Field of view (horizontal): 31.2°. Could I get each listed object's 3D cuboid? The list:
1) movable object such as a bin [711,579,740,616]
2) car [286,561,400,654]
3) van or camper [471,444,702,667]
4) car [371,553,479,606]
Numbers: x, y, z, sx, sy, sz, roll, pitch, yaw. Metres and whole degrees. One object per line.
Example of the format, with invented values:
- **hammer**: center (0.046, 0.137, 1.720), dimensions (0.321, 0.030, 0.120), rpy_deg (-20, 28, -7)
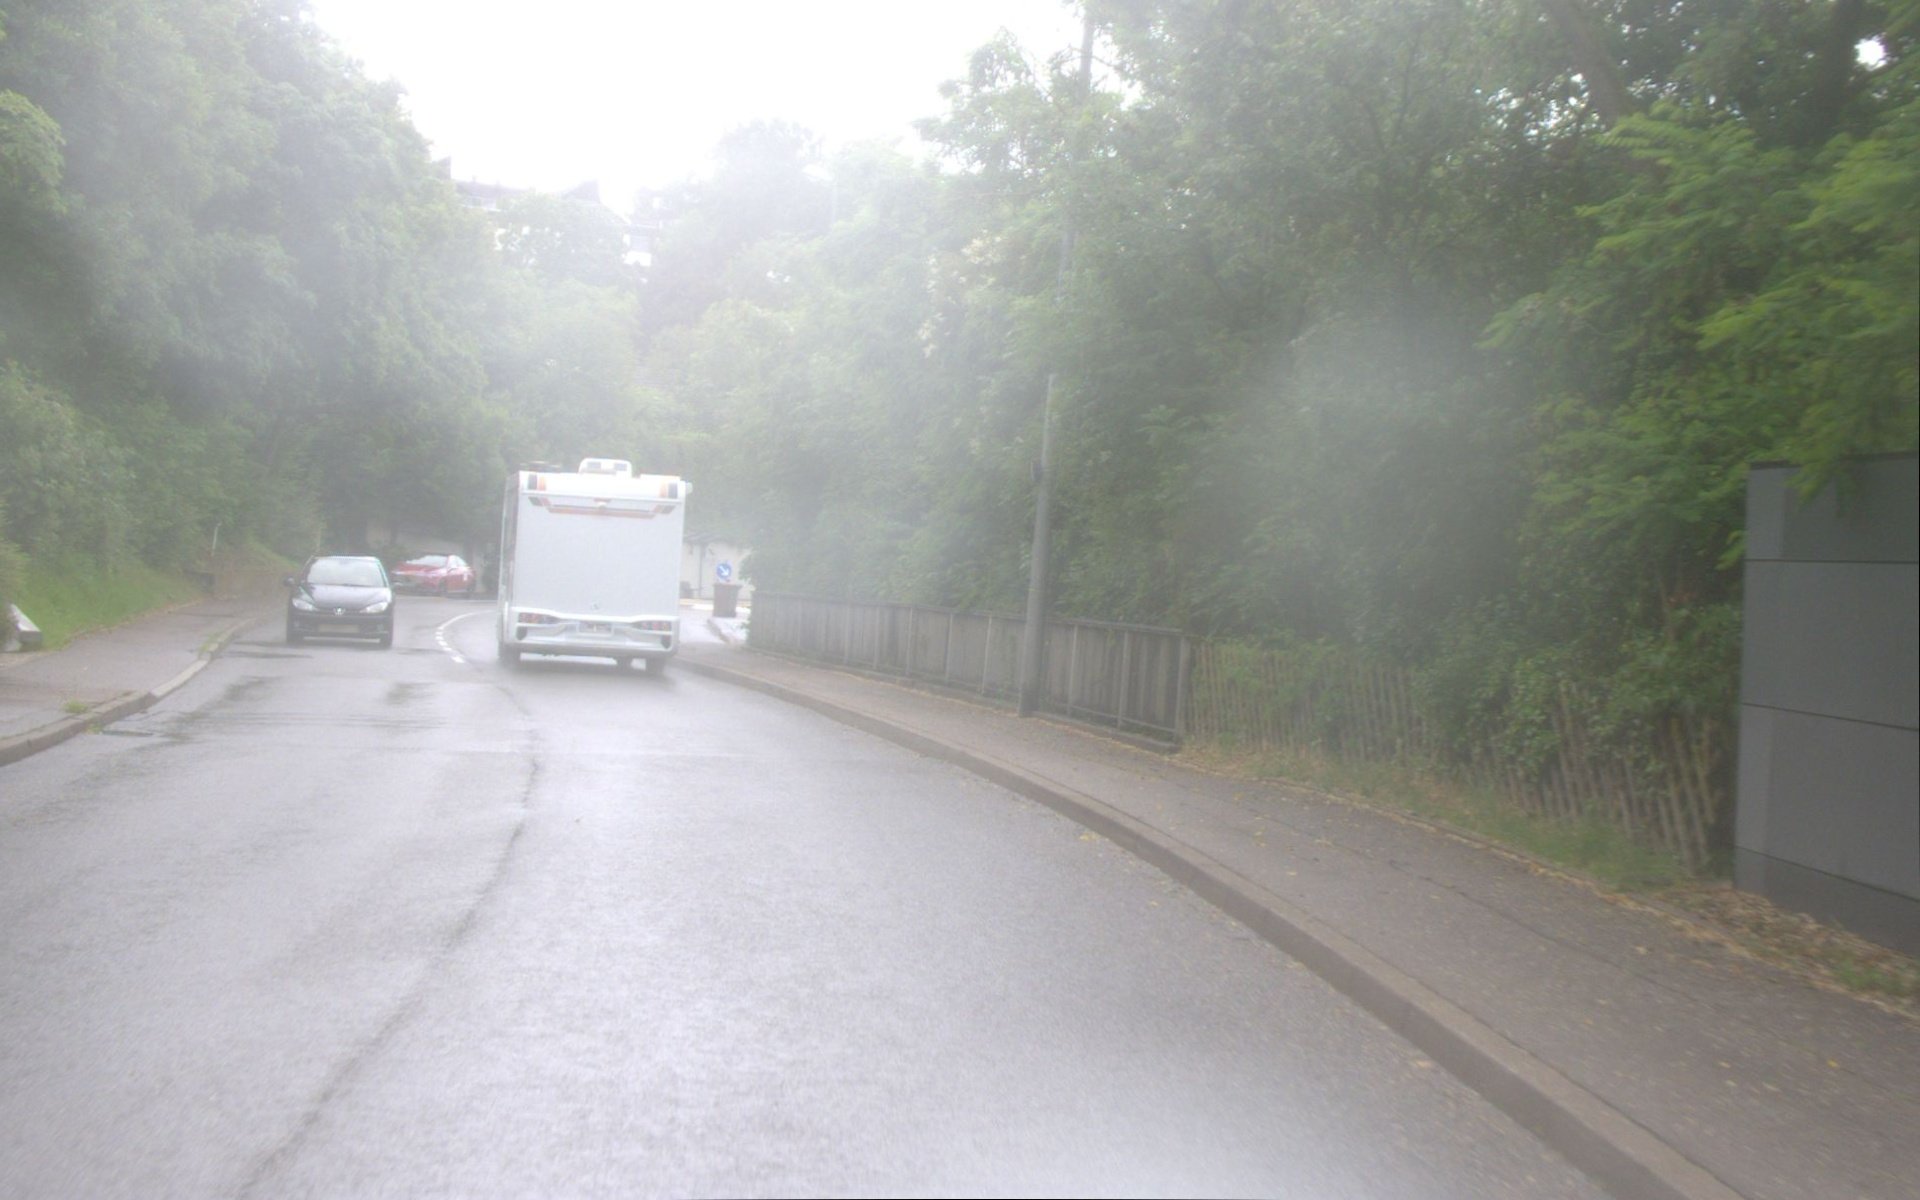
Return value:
- **movable object such as a bin**: center (-7.361, -0.076, 107.928), dimensions (0.777, 1.129, 0.738), rpy_deg (4, 0, 1)
- **car**: center (-9.762, 0.099, 54.573), dimensions (1.650, 1.380, 3.530), rpy_deg (2, 0, -9)
- **van or camper**: center (-5.303, -0.565, 47.960), dimensions (2.539, 2.915, 5.949), rpy_deg (0, 0, -13)
- **car**: center (-17.634, -0.664, 113.537), dimensions (1.994, 1.556, 4.650), rpy_deg (4, 0, 10)
